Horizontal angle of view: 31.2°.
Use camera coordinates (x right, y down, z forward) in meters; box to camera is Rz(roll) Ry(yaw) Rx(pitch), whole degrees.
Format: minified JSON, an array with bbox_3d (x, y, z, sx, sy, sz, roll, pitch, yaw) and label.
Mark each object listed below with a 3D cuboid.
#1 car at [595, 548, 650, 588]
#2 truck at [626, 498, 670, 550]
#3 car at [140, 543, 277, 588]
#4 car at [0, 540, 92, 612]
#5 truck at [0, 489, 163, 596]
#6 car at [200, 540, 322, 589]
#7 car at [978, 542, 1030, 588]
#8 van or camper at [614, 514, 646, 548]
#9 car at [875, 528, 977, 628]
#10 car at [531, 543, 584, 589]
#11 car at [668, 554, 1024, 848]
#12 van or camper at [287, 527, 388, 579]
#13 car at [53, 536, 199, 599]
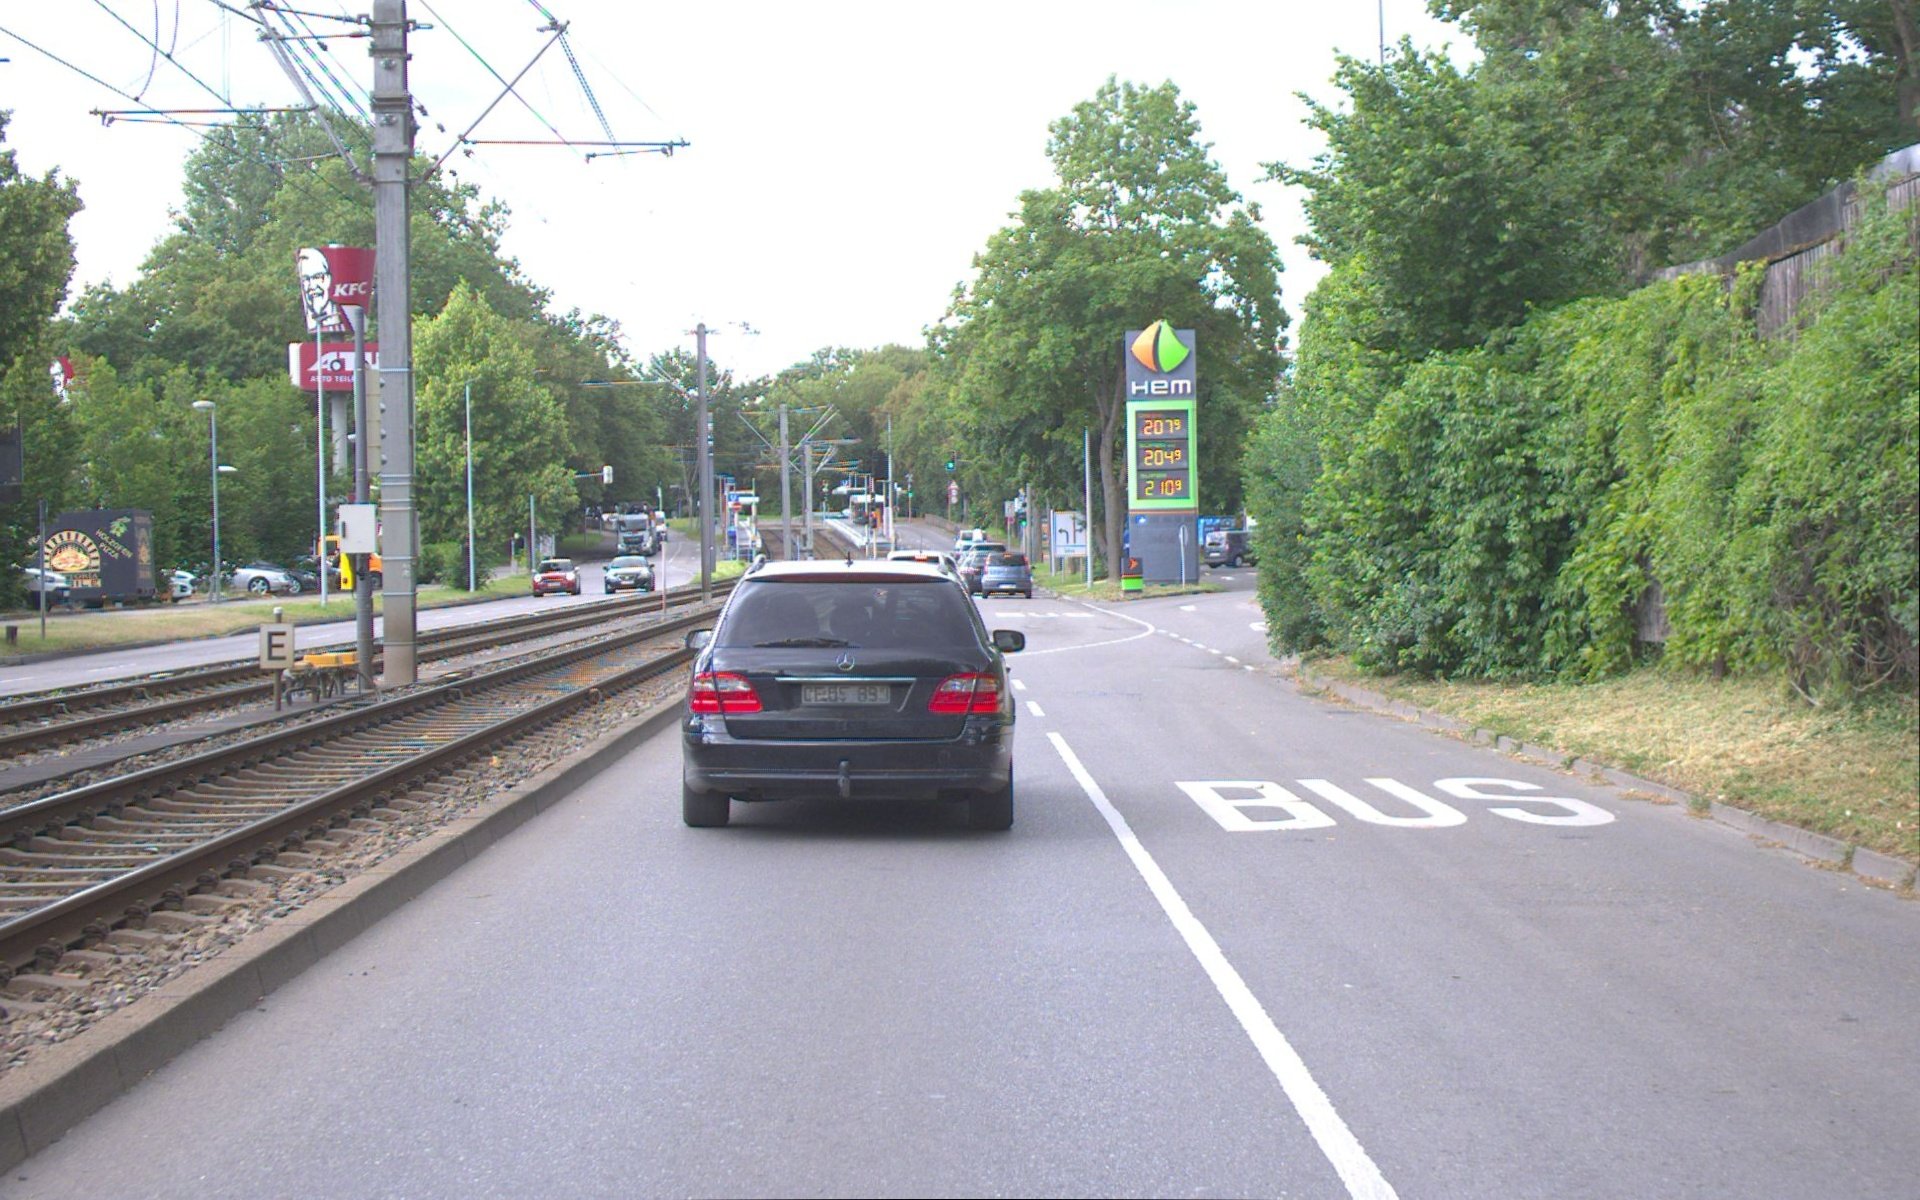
[{"bbox_3d":[-13.152,-1.266,134.164,1.759,1.396,4.444,-3,1,-1],"label":"car"},{"bbox_3d":[-22.544,-5.458,248.573,2.706,3.651,11.114,-1,1,-3],"label":"truck"},{"bbox_3d":[-25.610,-1.198,117.268,4.306,1.467,1.681,-1,1,-2],"label":"car"},{"bbox_3d":[-23.968,-0.575,85.592,4.220,1.721,1.996,-1,1,-2],"label":"car"},{"bbox_3d":[-24.153,-1.595,94.479,3.986,2.812,2.376,-1,1,-3],"label":"truck"},{"bbox_3d":[-24.685,-1.256,121.560,3.986,1.629,1.878,-1,1,-5],"label":"car"},{"bbox_3d":[1.404,-1.118,109.857,1.571,1.410,3.354,1,0,-1],"label":"car"},{"bbox_3d":[-23.718,-4.957,247.231,1.993,2.346,5.766,-1,1,-2],"label":"van or camper"},{"bbox_3d":[-0.613,-0.410,62.900,1.780,1.744,3.718,1,0,-1],"label":"car"},{"bbox_3d":[-15.995,-1.378,136.741,1.792,1.766,4.000,-1,1,-2],"label":"car"},{"bbox_3d":[-0.600,0.490,19.516,1.808,1.469,3.881,0,1,0],"label":"car"},{"bbox_3d":[-25.989,-1.966,143.583,3.986,2.127,1.878,-1,1,-5],"label":"van or camper"},{"bbox_3d":[-25.130,-0.999,103.690,3.986,1.791,1.878,-1,1,-5],"label":"car"}]
